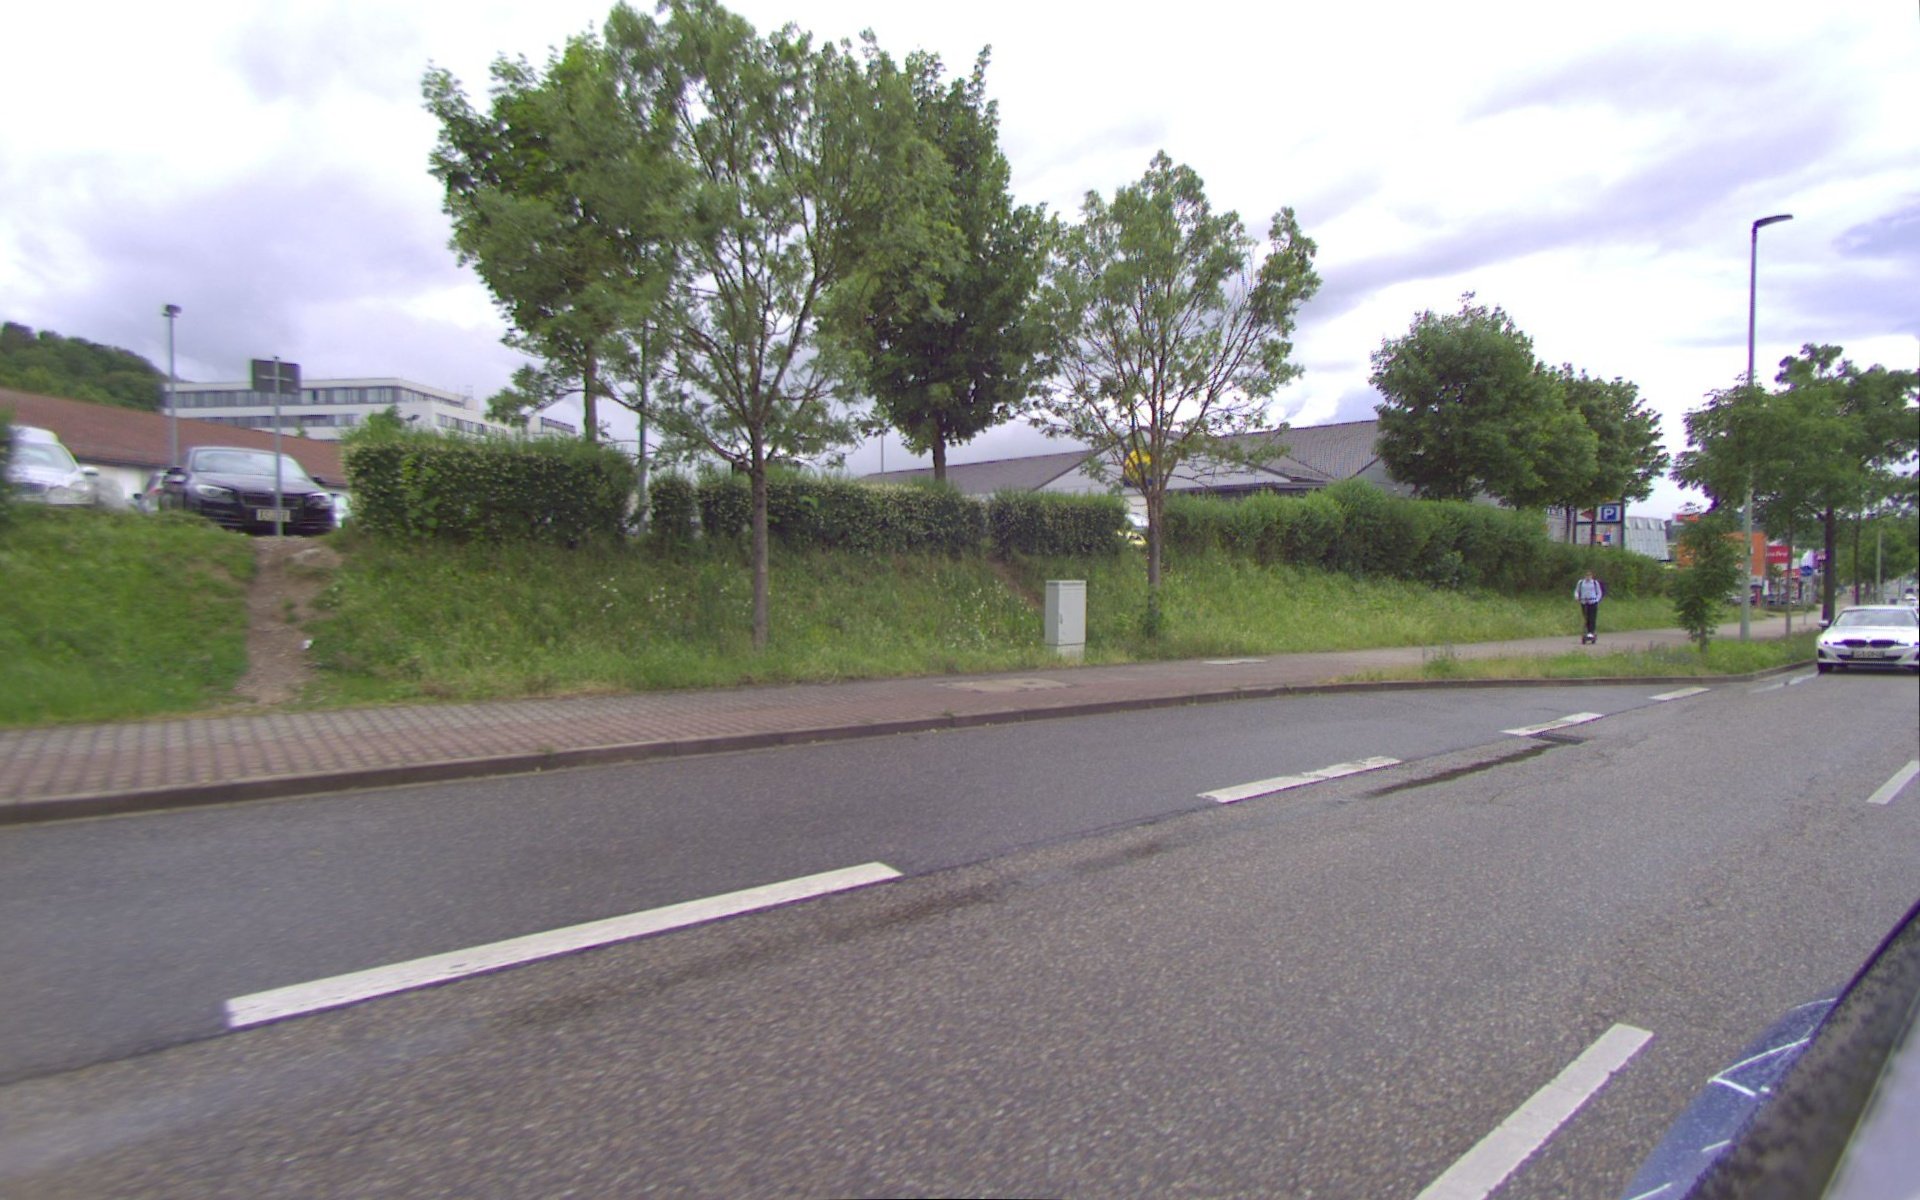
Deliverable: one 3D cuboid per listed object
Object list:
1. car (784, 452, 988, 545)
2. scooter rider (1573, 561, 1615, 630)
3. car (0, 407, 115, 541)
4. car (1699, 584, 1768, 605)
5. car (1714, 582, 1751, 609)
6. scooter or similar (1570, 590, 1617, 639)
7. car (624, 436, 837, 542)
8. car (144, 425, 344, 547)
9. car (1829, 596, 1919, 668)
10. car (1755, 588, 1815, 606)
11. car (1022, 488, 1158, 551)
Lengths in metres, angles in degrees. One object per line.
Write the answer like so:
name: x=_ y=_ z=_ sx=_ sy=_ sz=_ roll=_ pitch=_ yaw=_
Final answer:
car: x=-2.086 y=-2.677 z=26.831 sx=5.609 sy=2.167 sz=2.089 roll=6 pitch=5 yaw=43
scooter rider: x=17.367 y=-0.143 z=27.708 sx=0.843 sy=1.842 sz=0.696 roll=-1 pitch=3 yaw=-41
car: x=-13.499 y=-1.767 z=14.368 sx=4.351 sy=1.648 sz=1.897 roll=6 pitch=5 yaw=44
car: x=60.773 y=-0.435 z=79.581 sx=4.071 sy=1.457 sz=1.777 roll=1 pitch=-1 yaw=31
car: x=75.326 y=-0.405 z=98.662 sx=2.227 sy=2.569 sz=5.589 roll=-1 pitch=-1 yaw=44
scooter or similar: x=17.378 y=0.385 z=27.751 sx=1.376 sy=1.279 sz=0.696 roll=-1 pitch=3 yaw=-42
car: x=-5.577 y=-2.604 z=24.044 sx=5.609 sy=2.167 sz=2.089 roll=6 pitch=5 yaw=43
car: x=-11.608 y=-1.791 z=16.274 sx=4.351 sy=1.648 sz=1.897 roll=6 pitch=5 yaw=44
car: x=20.727 y=0.651 z=22.444 sx=4.467 sy=1.459 sz=1.805 roll=0 pitch=-1 yaw=-44
car: x=89.380 y=-0.356 z=109.689 sx=1.890 sy=1.620 sz=4.672 roll=1 pitch=4 yaw=-37
car: x=3.954 y=-2.506 z=31.250 sx=1.831 sy=1.756 sz=4.000 roll=0 pitch=4 yaw=-37
